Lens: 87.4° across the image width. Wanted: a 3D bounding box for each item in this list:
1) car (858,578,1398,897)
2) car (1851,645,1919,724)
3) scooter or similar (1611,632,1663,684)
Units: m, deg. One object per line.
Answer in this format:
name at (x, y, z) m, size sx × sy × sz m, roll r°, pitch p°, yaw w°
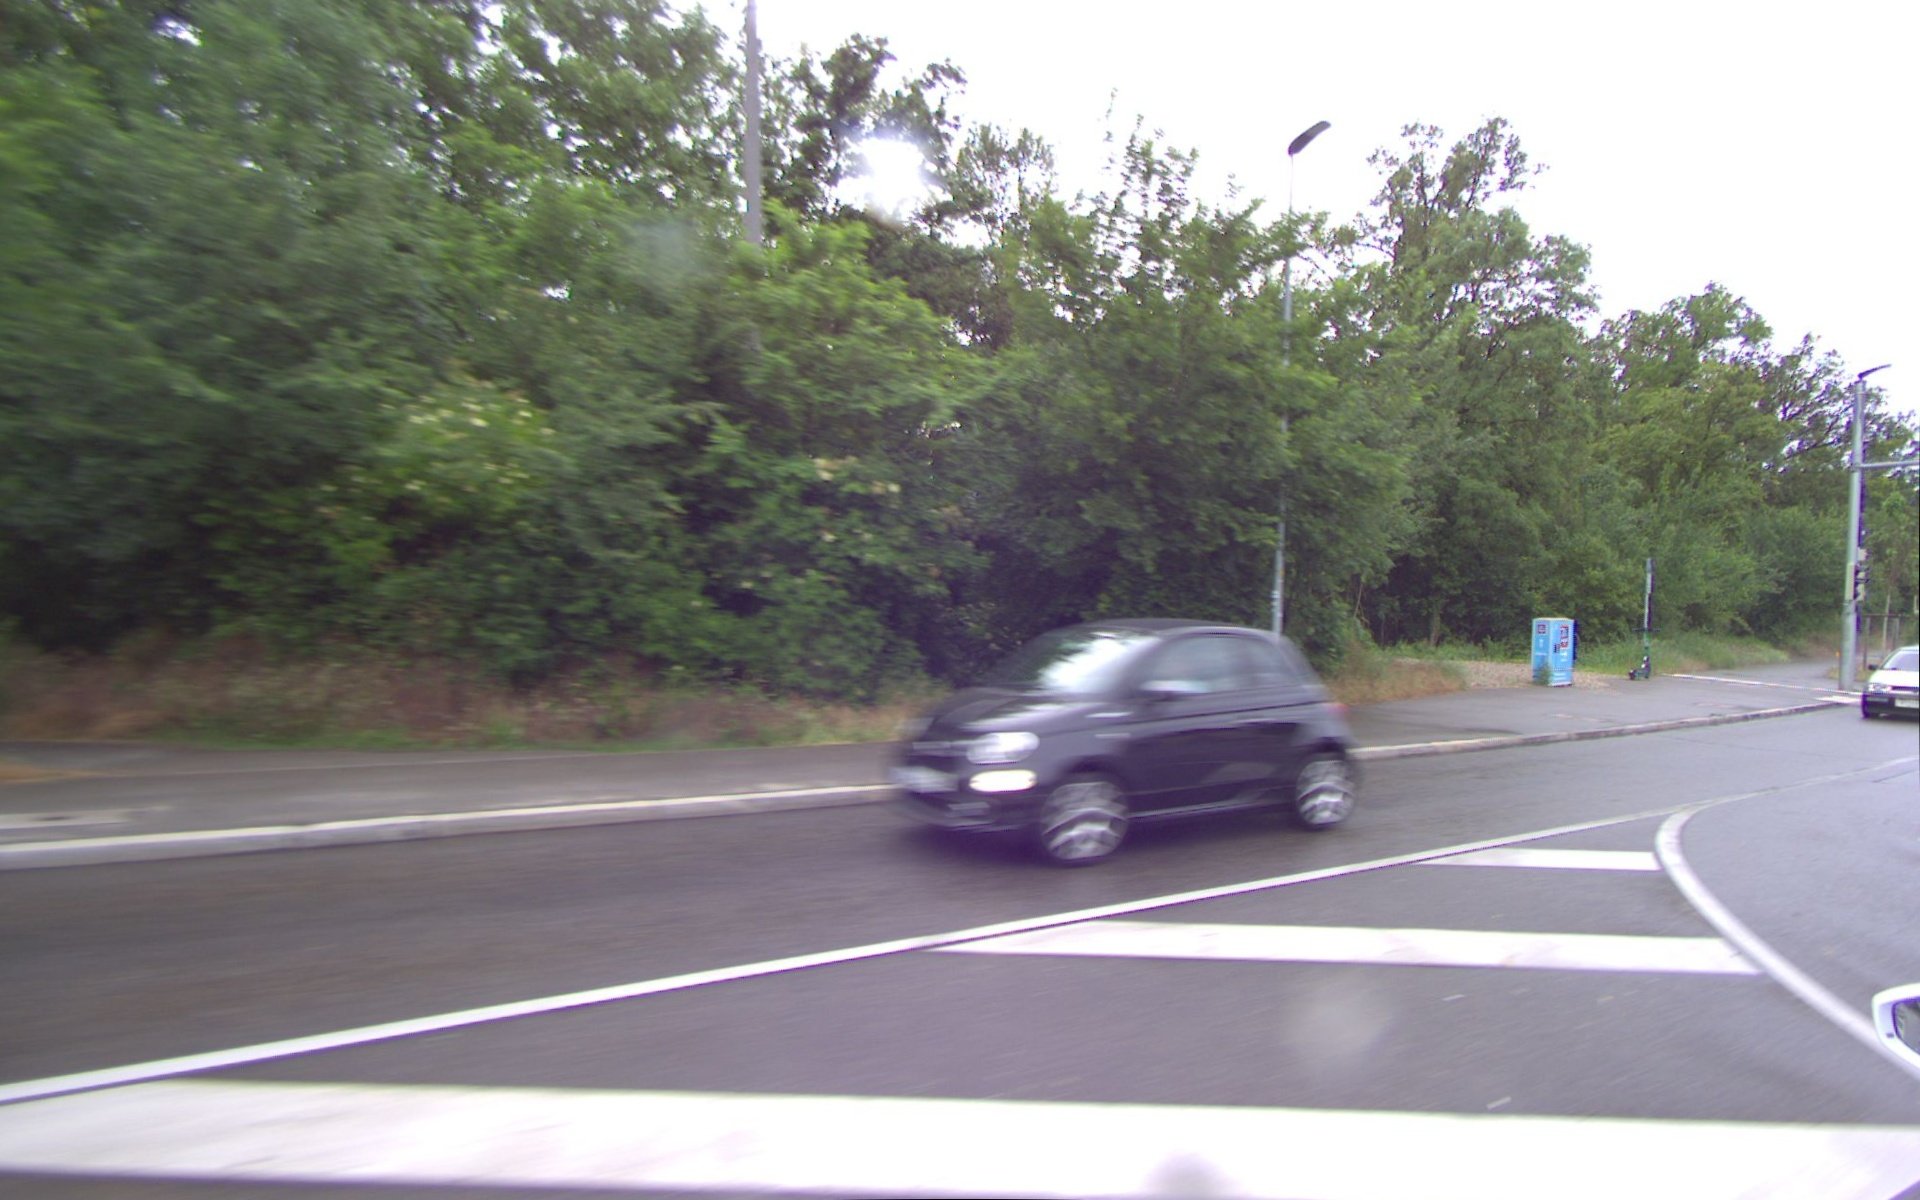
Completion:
car at (1.300, 0.803, 7.203) m, size 3.733 × 1.754 × 1.567 m, roll 2°, pitch -1°, yaw -33°
car at (19.018, 1.618, 19.632) m, size 4.173 × 1.370 × 1.727 m, roll 1°, pitch -1°, yaw -39°
scooter or similar at (16.752, 1.419, 24.840) m, size 1.453 × 1.228 × 0.514 m, roll 1°, pitch 1°, yaw -33°
